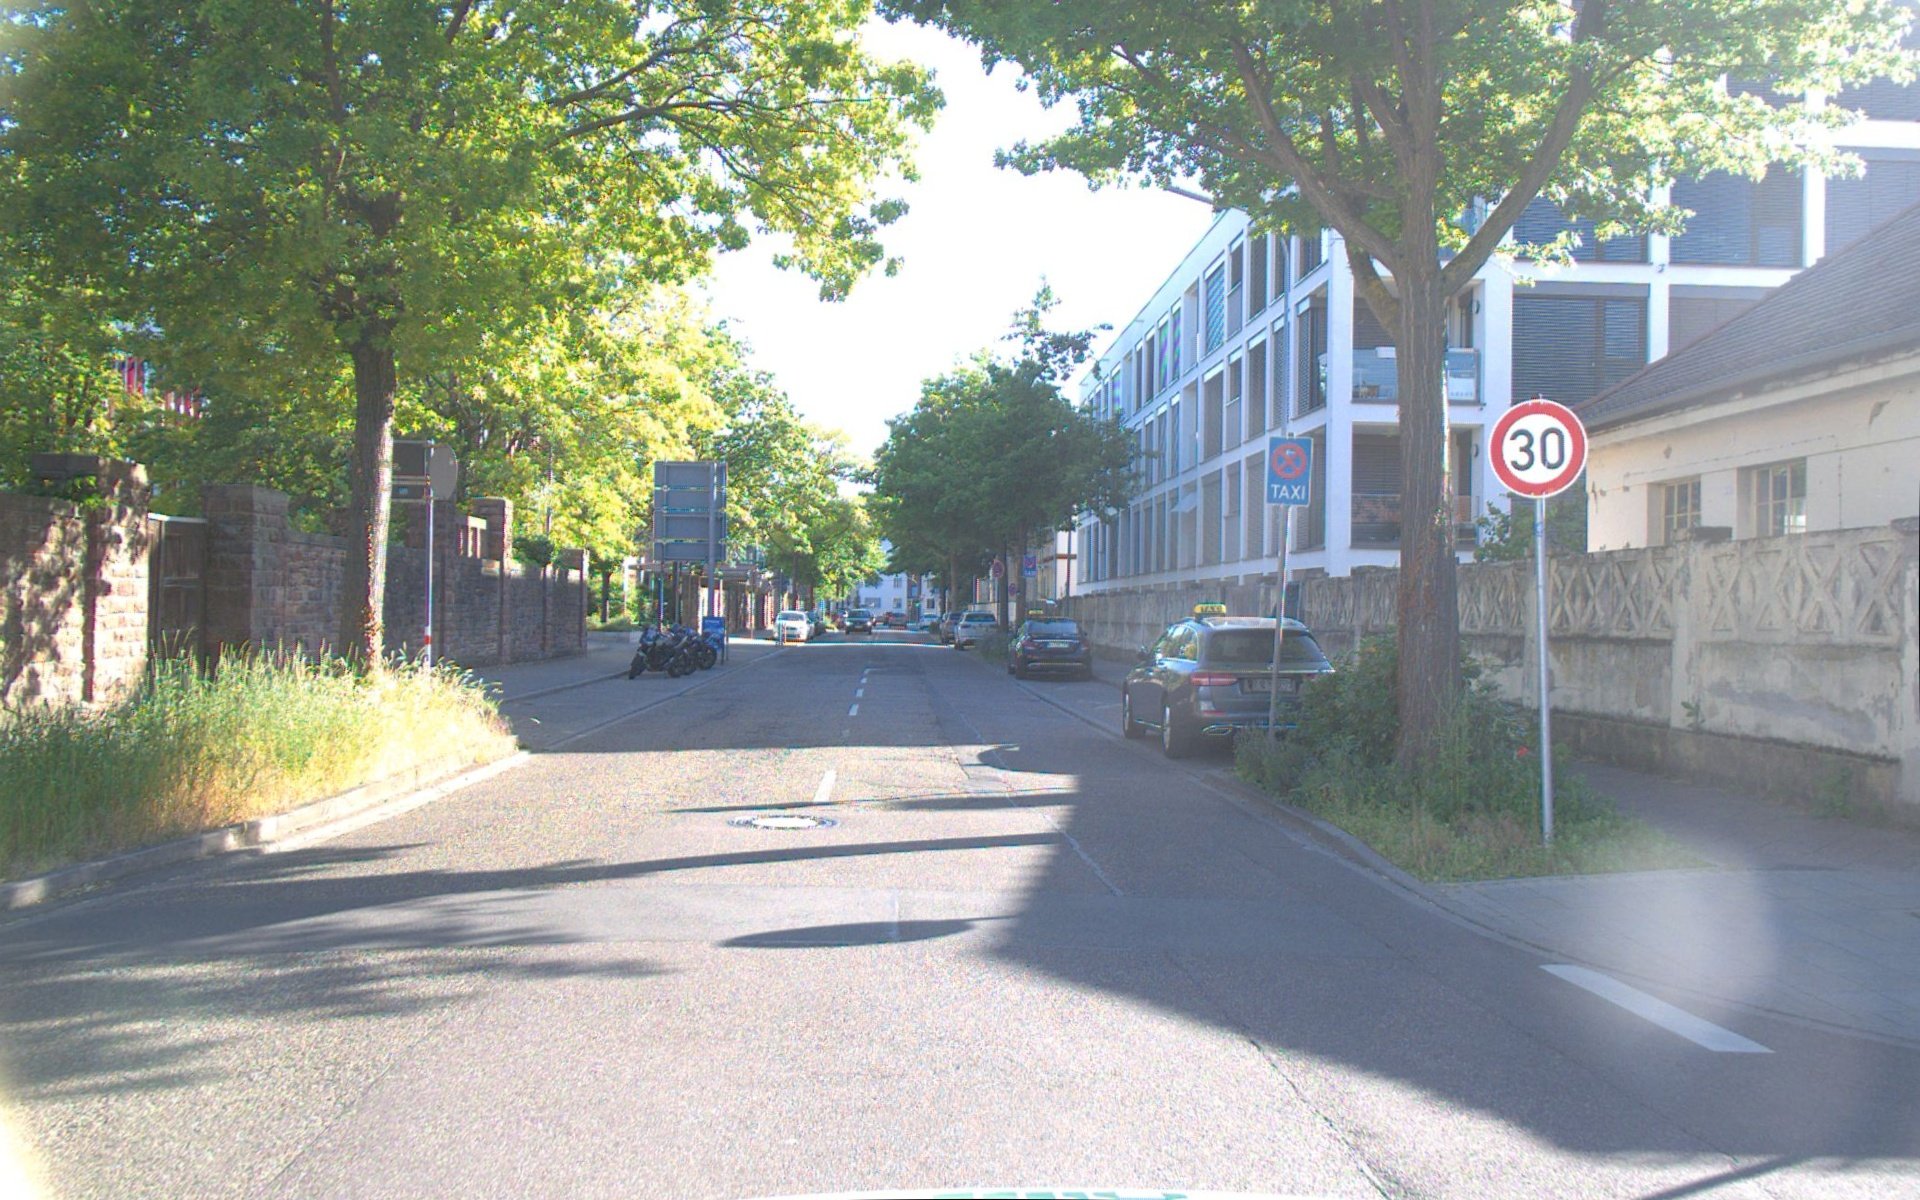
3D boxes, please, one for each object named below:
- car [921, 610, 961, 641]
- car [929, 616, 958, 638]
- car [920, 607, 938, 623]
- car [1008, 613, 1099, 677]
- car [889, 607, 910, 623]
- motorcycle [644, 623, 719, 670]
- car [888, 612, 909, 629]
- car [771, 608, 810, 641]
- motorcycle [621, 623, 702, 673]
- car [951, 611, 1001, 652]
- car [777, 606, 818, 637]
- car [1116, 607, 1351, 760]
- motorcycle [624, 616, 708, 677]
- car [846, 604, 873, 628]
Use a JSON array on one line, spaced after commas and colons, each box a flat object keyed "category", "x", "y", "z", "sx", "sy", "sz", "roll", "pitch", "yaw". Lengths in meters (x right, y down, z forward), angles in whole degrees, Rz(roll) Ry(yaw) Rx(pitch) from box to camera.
[{"category": "car", "x": -0.989, "y": 1.278, "z": 84.656, "sx": 1.953, "sy": 1.491, "sz": 3.835, "roll": 1, "pitch": 0, "yaw": -2}, {"category": "car", "x": -1.166, "y": 1.884, "z": 115.750, "sx": 1.953, "sy": 1.450, "sz": 3.835, "roll": 1, "pitch": 0, "yaw": -2}, {"category": "car", "x": -2.846, "y": 1.334, "z": 149.916, "sx": 1.553, "sy": 1.424, "sz": 3.835, "roll": 1, "pitch": 0, "yaw": -2}, {"category": "car", "x": 2.213, "y": 1.057, "z": 40.223, "sx": 1.732, "sy": 1.465, "sz": 3.997, "roll": 1, "pitch": 0, "yaw": -4}, {"category": "car", "x": -5.624, "y": 1.346, "z": 154.076, "sx": 1.851, "sy": 1.424, "sz": 3.835, "roll": 1, "pitch": 0, "yaw": -2}, {"category": "motorcycle", "x": -6.772, "y": 1.127, "z": 40.327, "sx": 0.565, "sy": 1.093, "sz": 2.117, "roll": 1, "pitch": 0, "yaw": 30}, {"category": "car", "x": -5.725, "y": 1.896, "z": 154.171, "sx": 1.733, "sy": 1.575, "sz": 4.061, "roll": 1, "pitch": 0, "yaw": -5}, {"category": "car", "x": -8.240, "y": 1.176, "z": 80.659, "sx": 1.732, "sy": 1.513, "sz": 3.997, "roll": 1, "pitch": 0, "yaw": -4}, {"category": "motorcycle", "x": -6.736, "y": 1.067, "z": 37.451, "sx": 0.565, "sy": 1.093, "sz": 2.117, "roll": 1, "pitch": 0, "yaw": 30}, {"category": "car", "x": 0.624, "y": 1.275, "z": 68.969, "sx": 1.911, "sy": 1.606, "sz": 3.835, "roll": 1, "pitch": 0, "yaw": -2}, {"category": "car", "x": -8.487, "y": 1.091, "z": 86.650, "sx": 1.869, "sy": 1.557, "sz": 3.998, "roll": 1, "pitch": 0, "yaw": -3}, {"category": "car", "x": 2.975, "y": 0.847, "z": 18.968, "sx": 1.669, "sy": 1.494, "sz": 4.786, "roll": 1, "pitch": 0, "yaw": -3}, {"category": "motorcycle", "x": -6.428, "y": 0.995, "z": 36.306, "sx": 0.565, "sy": 1.298, "sz": 2.117, "roll": 1, "pitch": 0, "yaw": 30}, {"category": "car", "x": -6.600, "y": 1.025, "z": 108.868, "sx": 1.620, "sy": 1.557, "sz": 3.998, "roll": 1, "pitch": 0, "yaw": -3}]
